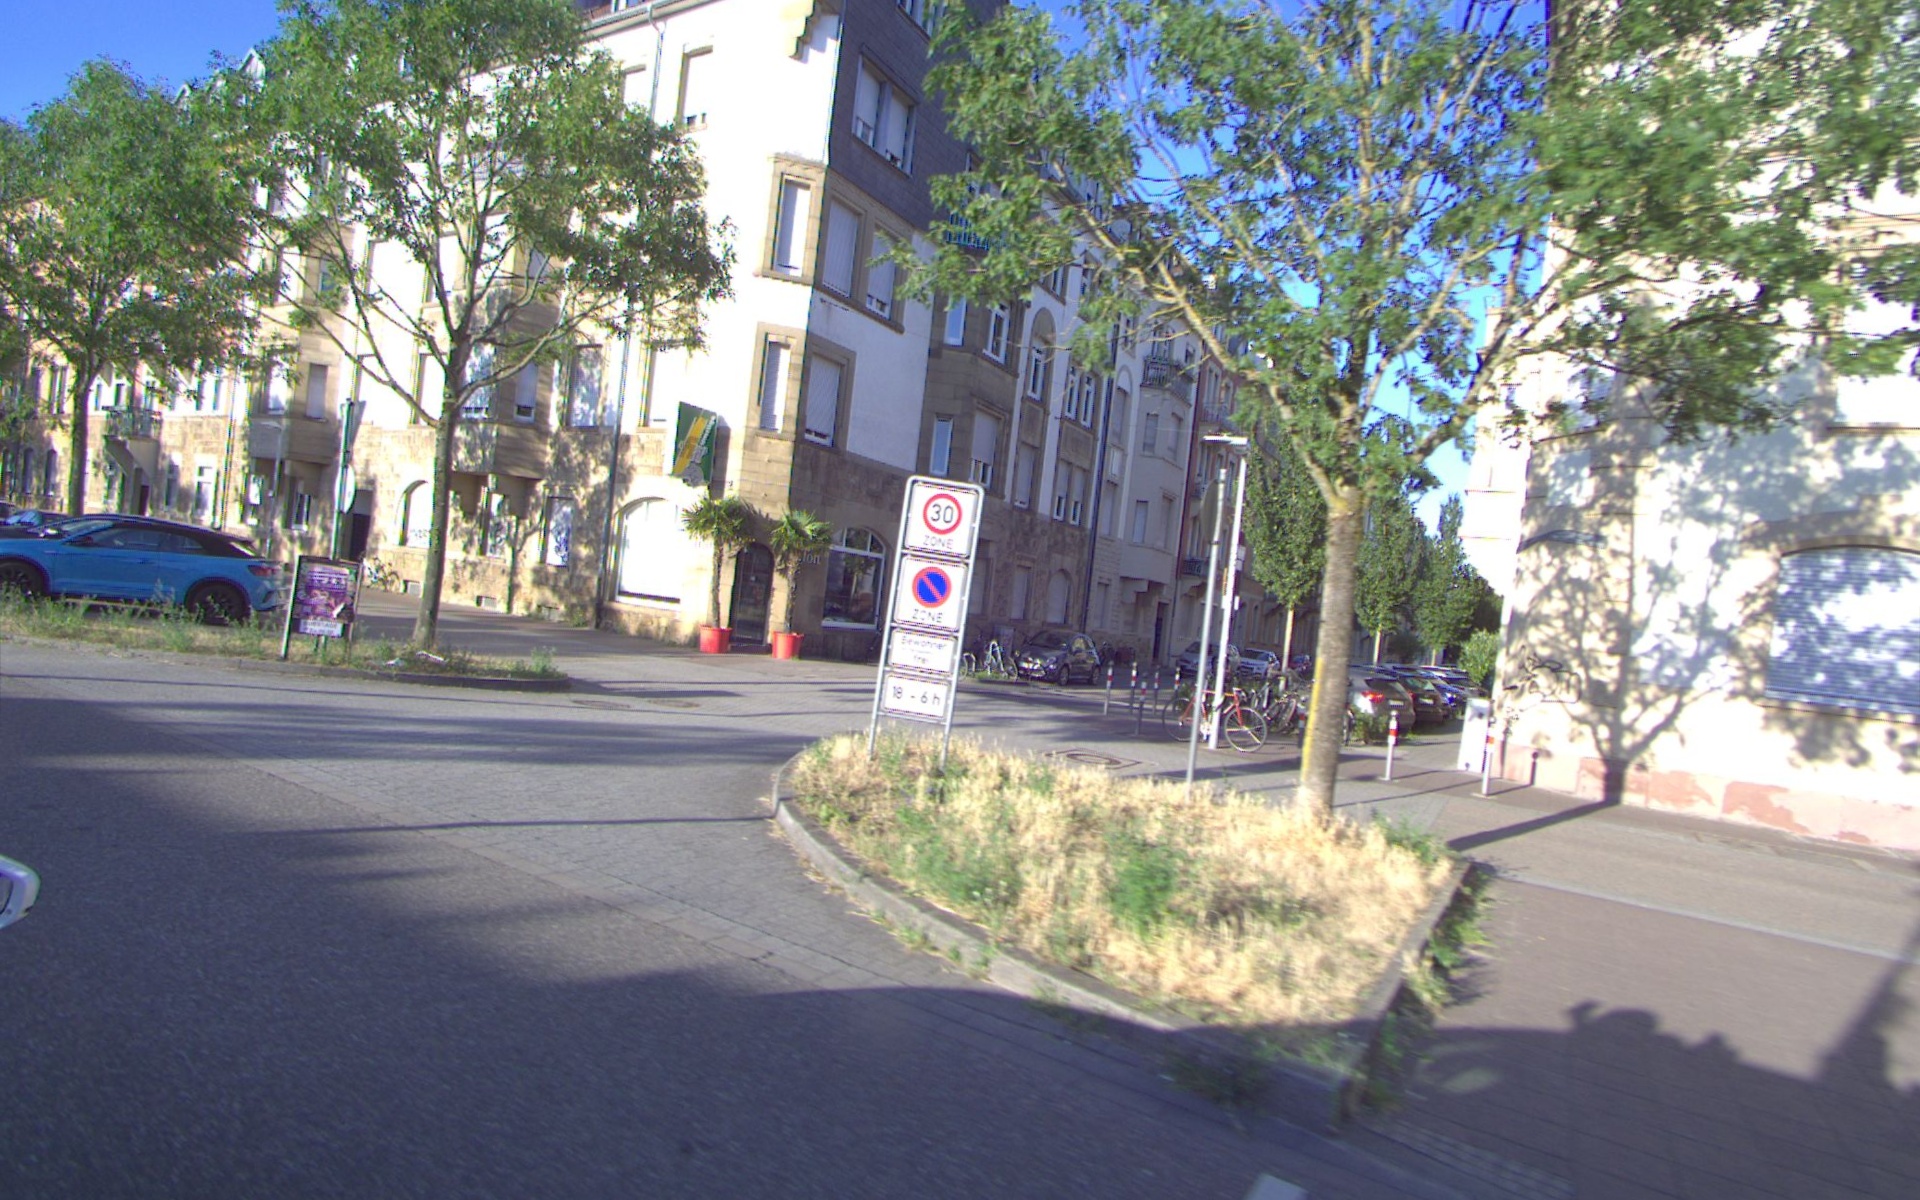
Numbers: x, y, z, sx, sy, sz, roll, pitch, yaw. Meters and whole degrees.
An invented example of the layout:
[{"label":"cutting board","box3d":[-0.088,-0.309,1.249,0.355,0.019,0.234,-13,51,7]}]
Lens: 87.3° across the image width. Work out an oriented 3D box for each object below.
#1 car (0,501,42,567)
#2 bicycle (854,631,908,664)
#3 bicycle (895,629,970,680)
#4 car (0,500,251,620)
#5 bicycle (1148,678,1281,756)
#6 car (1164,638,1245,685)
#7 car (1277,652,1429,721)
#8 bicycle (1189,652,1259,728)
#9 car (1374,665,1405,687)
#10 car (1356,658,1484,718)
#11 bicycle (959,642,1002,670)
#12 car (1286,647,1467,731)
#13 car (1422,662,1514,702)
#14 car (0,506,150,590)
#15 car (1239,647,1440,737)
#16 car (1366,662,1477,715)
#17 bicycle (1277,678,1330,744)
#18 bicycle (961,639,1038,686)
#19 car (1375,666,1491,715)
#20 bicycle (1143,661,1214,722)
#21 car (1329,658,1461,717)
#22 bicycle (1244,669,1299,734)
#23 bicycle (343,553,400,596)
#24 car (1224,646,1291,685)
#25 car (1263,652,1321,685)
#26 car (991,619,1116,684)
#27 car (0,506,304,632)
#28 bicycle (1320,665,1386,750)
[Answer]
[{"label":"car","box3d":[-26.066,-1.930,26.365,4.201,1.528,1.730,7,-3,31]},{"label":"bicycle","box3d":[-2.042,1.247,26.148,0.522,0.744,1.544,7,-1,31]},{"label":"bicycle","box3d":[-0.687,1.309,24.383,0.626,0.959,1.861,7,0,-43]},{"label":"car","box3d":[-15.944,-0.773,18.581,4.296,1.589,1.987,9,-2,-29]},{"label":"bicycle","box3d":[3.828,1.754,15.239,1.853,0.885,0.459,5,5,32]},{"label":"car","box3d":[10.224,2.580,41.869,1.967,1.571,4.103,9,1,32]},{"label":"car","box3d":[11.627,2.540,29.905,1.854,1.492,3.672,7,-1,-38]},{"label":"bicycle","box3d":[5.288,1.779,20.033,0.718,1.336,2.354,7,-1,28]},{"label":"car","box3d":[37.205,6.615,87.052,1.965,1.483,4.109,7,-2,28]},{"label":"car","box3d":[16.638,3.163,36.508,1.854,1.575,3.672,8,-1,-38]},{"label":"bicycle","box3d":[0.642,1.717,30.792,0.522,0.744,1.544,7,-1,31]},{"label":"car","box3d":[10.772,2.276,26.219,1.853,1.596,3.835,7,-1,-37]},{"label":"car","box3d":[27.485,4.408,54.510,1.854,1.558,3.973,7,-1,-38]},{"label":"car","box3d":[-21.377,-1.297,23.674,4.827,1.460,1.950,6,-3,31]},{"label":"car","box3d":[8.937,2.133,24.055,1.848,1.510,4.170,7,-1,-29]},{"label":"car","box3d":[19.288,3.688,42.171,1.854,1.688,3.672,7,-1,-38]},{"label":"bicycle","box3d":[6.542,2.069,19.093,0.529,1.119,2.209,7,-1,28]},{"label":"bicycle","box3d":[1.031,1.641,26.368,1.853,0.959,0.629,7,0,32]},{"label":"car","box3d":[18.301,3.489,39.017,1.678,1.326,3.594,7,-1,-38]},{"label":"bicycle","box3d":[4.426,1.818,20.222,0.718,1.062,2.333,7,-1,28]},{"label":"car","box3d":[15.013,3.006,34.845,1.854,1.492,3.671,7,-1,-40]},{"label":"bicycle","box3d":[6.076,1.952,19.538,0.565,1.138,1.976,7,-1,28]},{"label":"bicycle","box3d":[-17.320,-0.757,29.601,1.865,1.087,0.572,6,1,32]},{"label":"car","box3d":[14.576,3.230,49.184,1.967,1.484,4.103,9,0,32]},{"label":"car","box3d":[18.646,3.863,56.395,1.967,1.484,4.103,9,1,32]},{"label":"car","box3d":[2.814,1.555,29.544,1.966,1.484,3.993,9,1,31]},{"label":"car","box3d":[-13.836,-0.509,17.025,4.236,1.540,1.835,8,-1,-26]},{"label":"bicycle","box3d":[7.354,1.962,18.740,0.718,1.401,2.670,7,-1,28]}]
